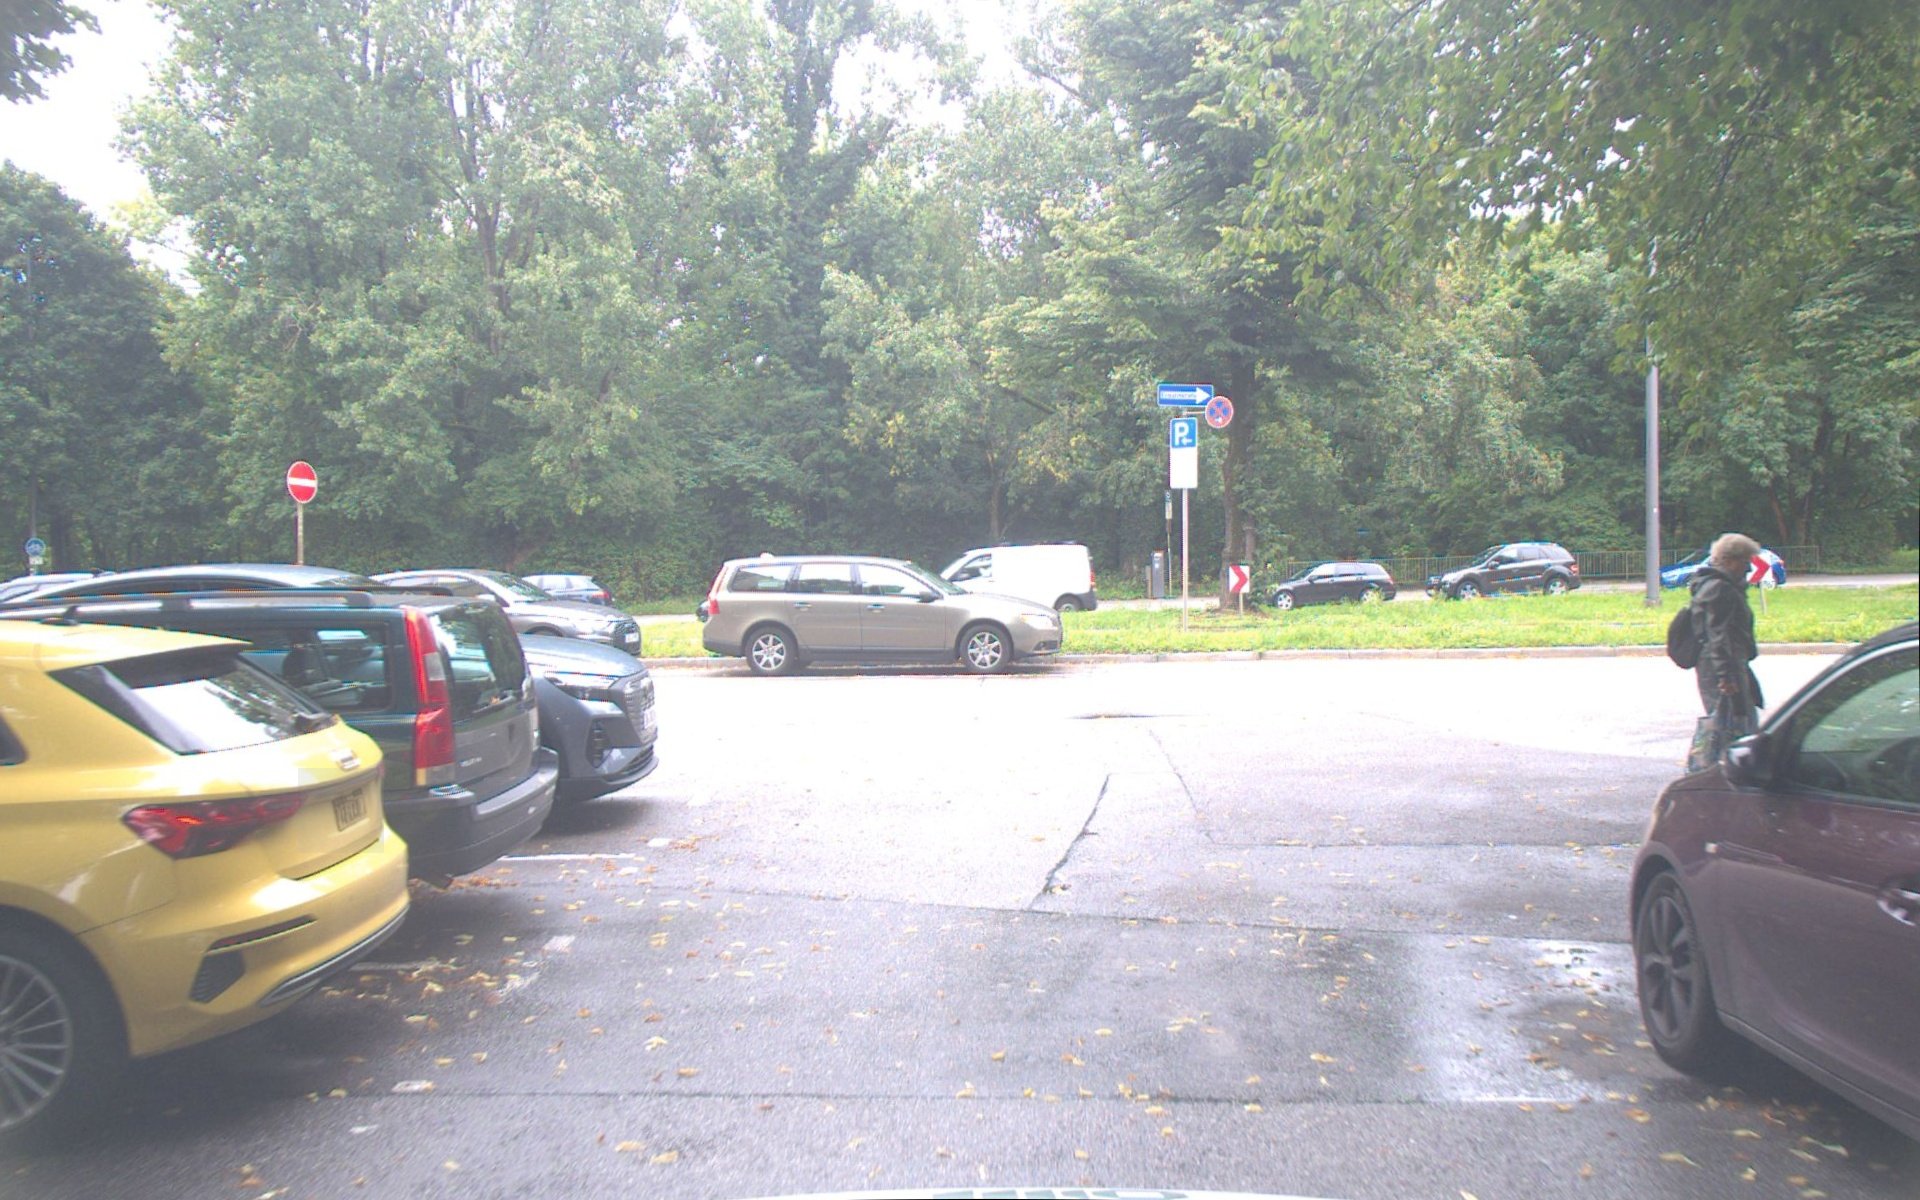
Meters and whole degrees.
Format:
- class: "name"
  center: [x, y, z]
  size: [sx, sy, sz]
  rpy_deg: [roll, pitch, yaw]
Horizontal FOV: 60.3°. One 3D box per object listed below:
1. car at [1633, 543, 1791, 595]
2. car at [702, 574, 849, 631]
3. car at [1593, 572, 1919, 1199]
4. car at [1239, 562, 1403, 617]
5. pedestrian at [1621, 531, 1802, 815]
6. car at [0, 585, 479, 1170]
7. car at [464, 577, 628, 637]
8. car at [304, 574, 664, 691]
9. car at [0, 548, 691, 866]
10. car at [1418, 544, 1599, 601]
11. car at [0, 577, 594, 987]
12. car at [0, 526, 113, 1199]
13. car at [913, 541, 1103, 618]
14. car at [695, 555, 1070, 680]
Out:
- class: "car"
  center: [23.800, -0.972, 52.429]
  size: [4.185, 1.497, 1.928]
  rpy_deg: [-2, 1, -8]
- class: "car"
  center: [-5.417, 0.062, 48.998]
  size: [4.148, 1.520, 1.999]
  rpy_deg: [-2, 1, -2]
- class: "car"
  center: [3.005, 0.692, 4.103]
  size: [1.613, 1.500, 3.645]
  rpy_deg: [-1, 1, 3]
- class: "car"
  center: [10.993, -0.332, 50.552]
  size: [4.496, 1.497, 1.928]
  rpy_deg: [-2, 1, -8]
- class: "pedestrian"
  center: [4.544, 0.414, 10.050]
  size: [0.763, 1.645, 0.761]
  rpy_deg: [-1, 3, 3]
- class: "car"
  center: [-3.660, 0.762, 5.097]
  size: [3.800, 1.466, 1.740]
  rpy_deg: [-2, 1, -1]
- class: "car"
  center: [-12.087, 0.189, 48.557]
  size: [4.347, 1.606, 1.930]
  rpy_deg: [-2, 1, -5]
- class: "car"
  center: [-6.330, 0.416, 22.228]
  size: [4.255, 1.404, 1.771]
  rpy_deg: [-1, 1, 8]
- class: "car"
  center: [-3.861, 0.582, 10.131]
  size: [4.077, 1.628, 1.736]
  rpy_deg: [-2, 3, 0]
- class: "car"
  center: [16.877, -0.843, 50.985]
  size: [4.935, 1.593, 1.996]
  rpy_deg: [-2, 1, -8]
- class: "car"
  center: [-3.781, 0.727, 7.255]
  size: [3.905, 1.489, 1.736]
  rpy_deg: [-2, 2, 0]
- class: "car"
  center: [-4.082, 0.710, 2.818]
  size: [4.354, 1.624, 1.837]
  rpy_deg: [-1, 1, 5]
- class: "car"
  center: [1.125, -0.502, 40.174]
  size: [4.417, 1.697, 1.930]
  rpy_deg: [-2, 1, -5]
- class: "car"
  center: [-0.938, 0.207, 21.774]
  size: [4.700, 1.521, 1.843]
  rpy_deg: [-1, 1, 5]
